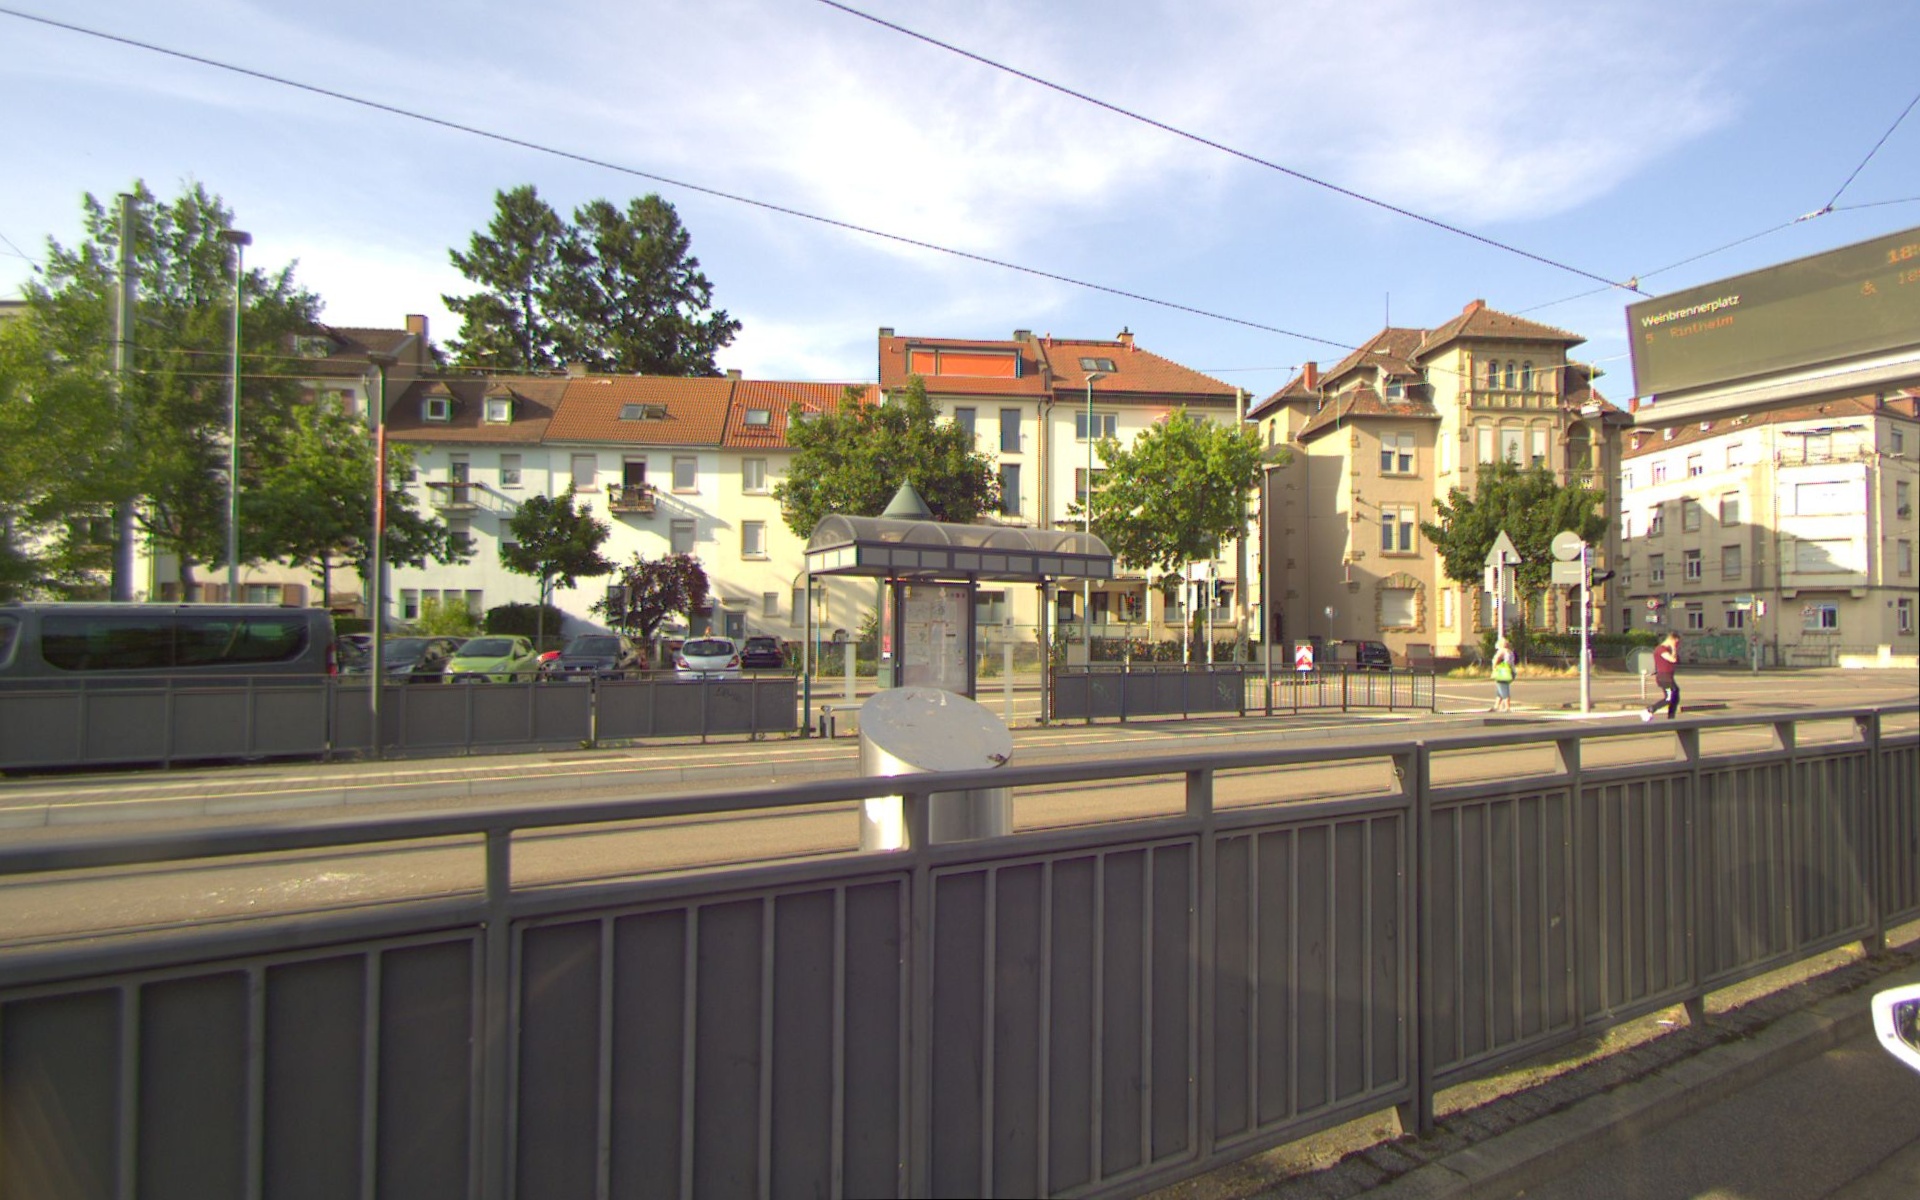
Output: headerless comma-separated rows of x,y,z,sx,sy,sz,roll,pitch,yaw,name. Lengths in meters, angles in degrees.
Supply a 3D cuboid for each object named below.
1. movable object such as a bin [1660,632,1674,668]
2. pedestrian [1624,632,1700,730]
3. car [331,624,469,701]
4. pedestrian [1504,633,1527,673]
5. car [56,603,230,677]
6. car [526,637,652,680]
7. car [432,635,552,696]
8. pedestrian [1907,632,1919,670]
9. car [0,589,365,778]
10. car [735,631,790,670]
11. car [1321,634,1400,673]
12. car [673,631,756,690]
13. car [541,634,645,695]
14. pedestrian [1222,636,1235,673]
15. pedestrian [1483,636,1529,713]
34.602,2.446,49.155,0.259,1.732,2.379,-1,-2,29,movable object such as a bin
12.432,1.411,17.807,0.663,1.692,0.877,1,-2,-27,pedestrian
-13.993,1.537,25.365,1.821,1.777,3.993,1,-2,-11,car
23.720,2.268,42.891,0.592,1.673,0.681,1,-2,-3,pedestrian
-21.294,1.049,26.425,1.821,1.777,3.993,1,-2,-11,car
-12.759,1.997,34.753,3.792,1.445,1.548,0,-2,-7,car
-12.006,1.642,26.051,1.740,1.447,3.995,1,-2,-9,car
49.106,2.614,51.438,0.616,1.905,0.659,1,-2,-15,pedestrian
-10.325,0.947,12.111,5.323,2.040,2.136,2,-2,-30,car
-8.391,2.136,43.000,1.821,1.578,3.999,0,-2,-4,car
18.122,2.393,45.645,1.742,1.653,3.998,0,-2,-5,car
-6.398,1.552,26.528,1.740,1.447,3.995,1,-2,-9,car
-9.336,1.604,25.864,1.740,1.447,3.995,1,-2,-9,car
11.028,2.241,41.251,0.382,1.535,0.405,0,-2,-3,pedestrian
11.660,1.573,21.461,0.708,1.610,0.586,2,-2,-34,pedestrian
